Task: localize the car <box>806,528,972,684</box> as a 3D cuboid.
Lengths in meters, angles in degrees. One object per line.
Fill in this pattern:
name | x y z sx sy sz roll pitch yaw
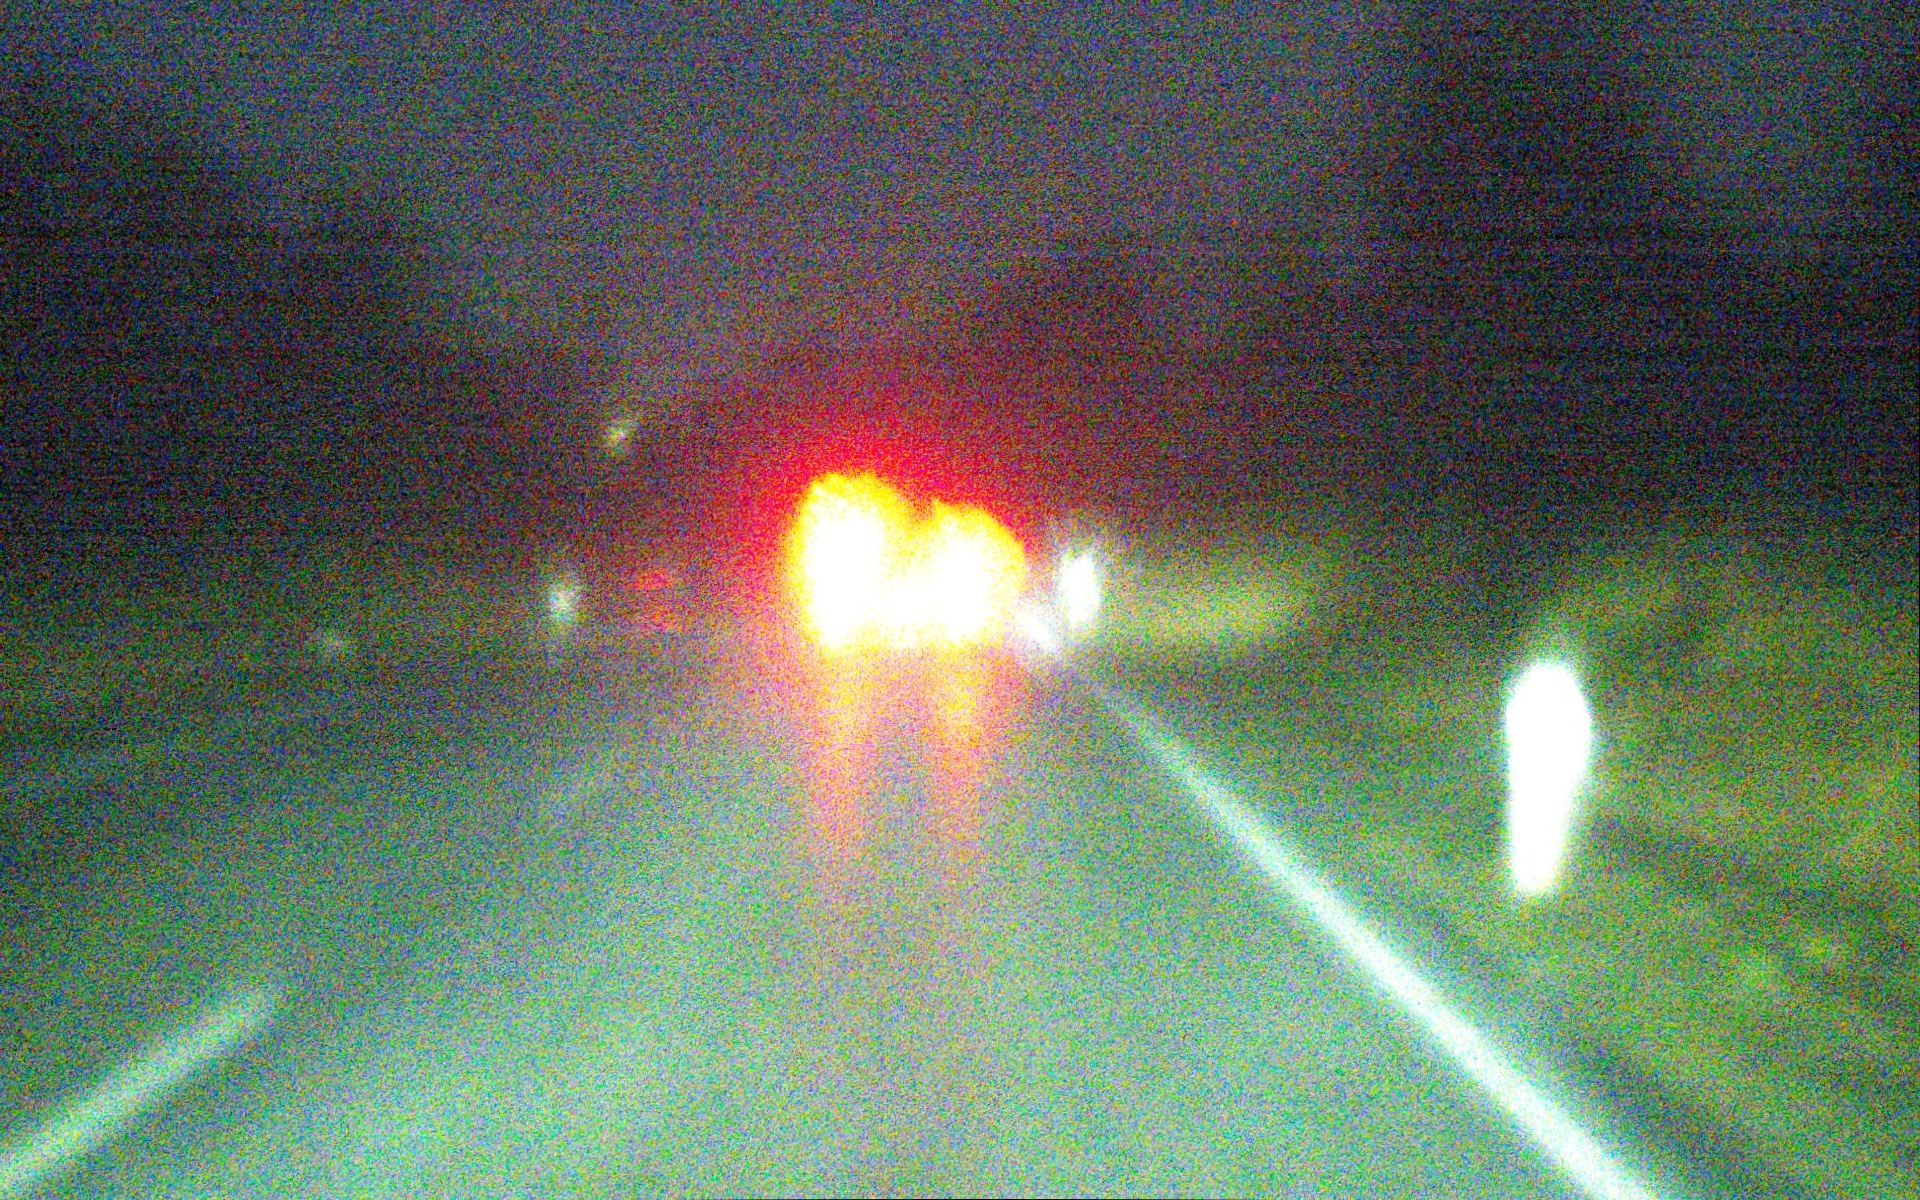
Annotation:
car | -0.817 0.024 40.471 1.842 1.734 4.000 0 1 -1
